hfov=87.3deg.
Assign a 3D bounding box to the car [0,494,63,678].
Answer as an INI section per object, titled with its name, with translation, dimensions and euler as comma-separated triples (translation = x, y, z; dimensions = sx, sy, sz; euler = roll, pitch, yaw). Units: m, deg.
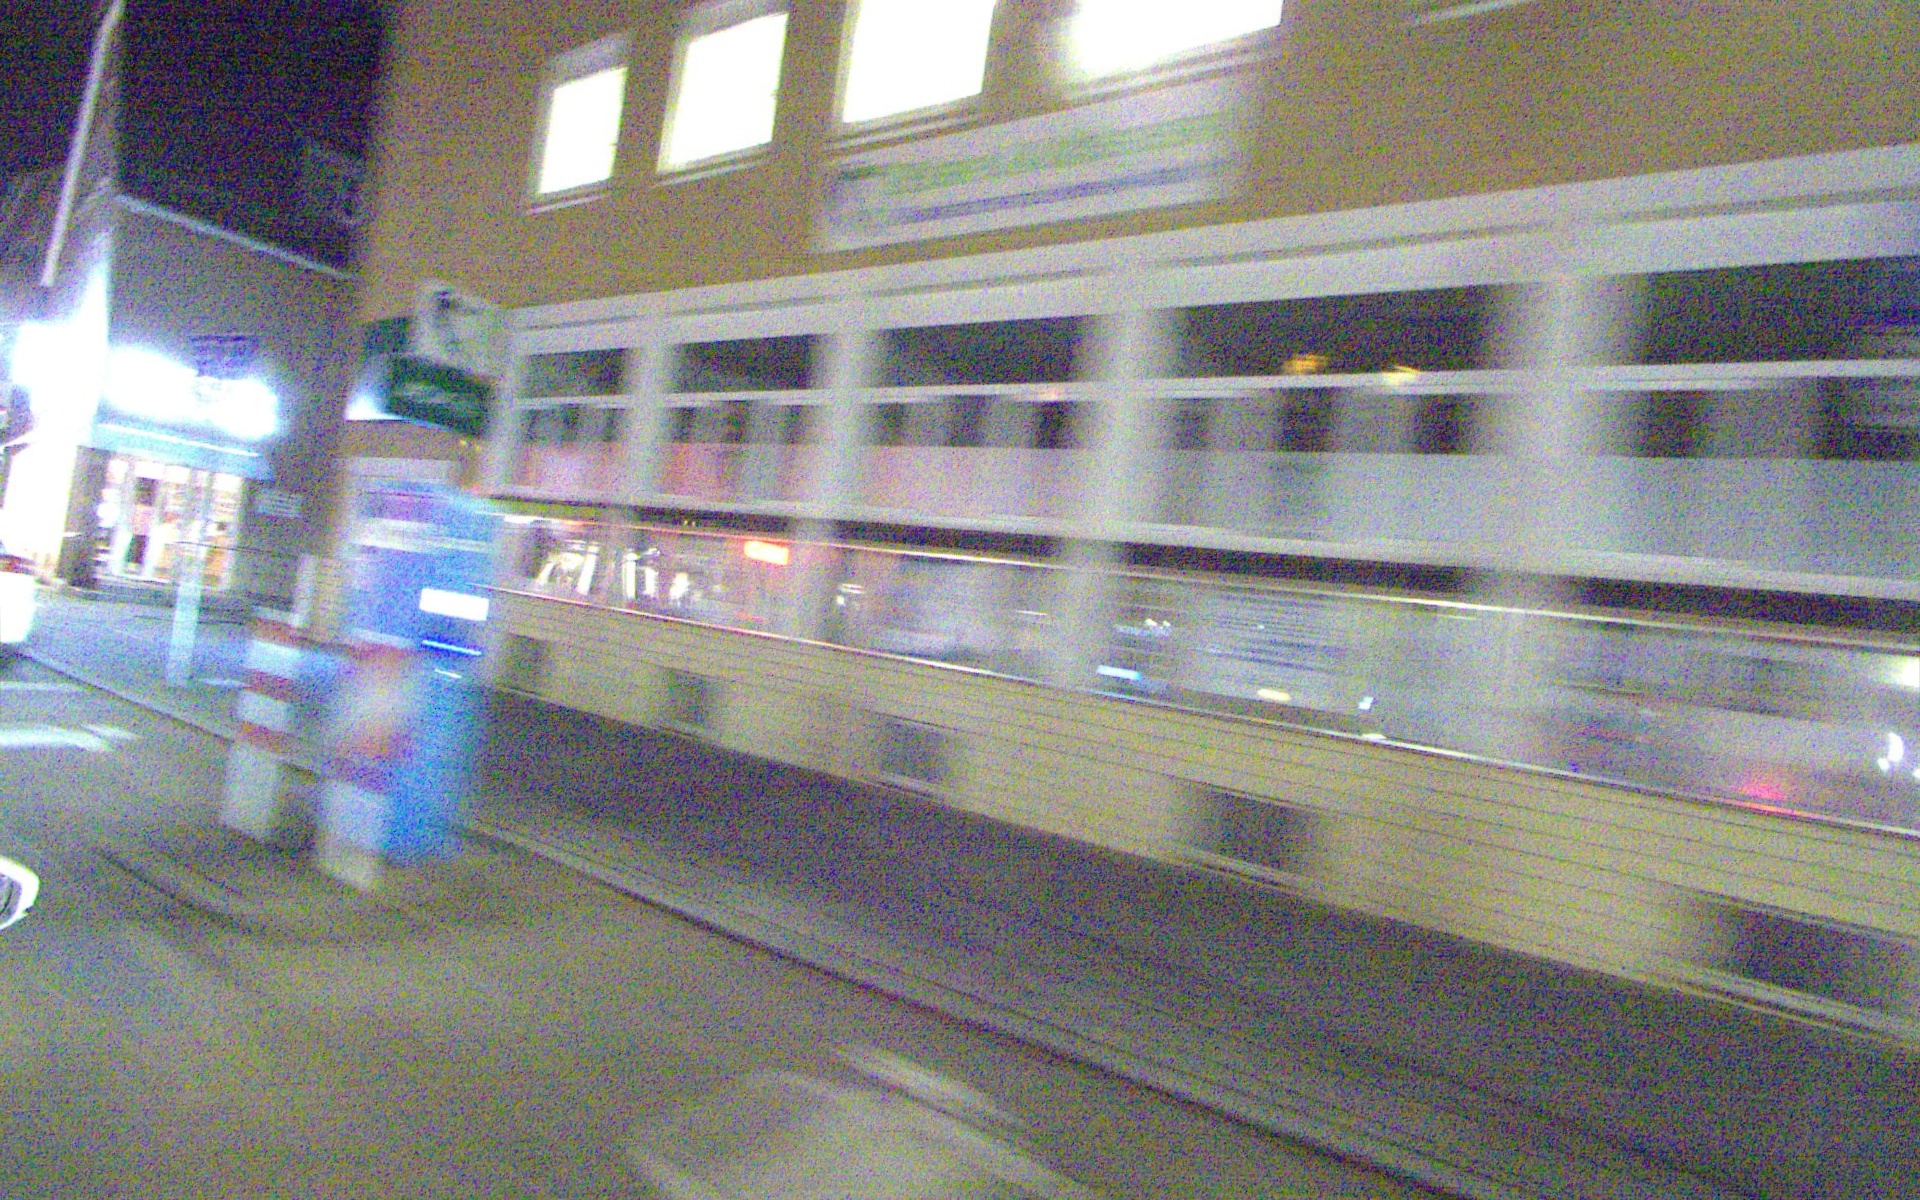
[car]
translation = -10.096, -0.342, 9.160
dimensions = 4.563, 1.504, 1.744
euler = 5, -3, 35
